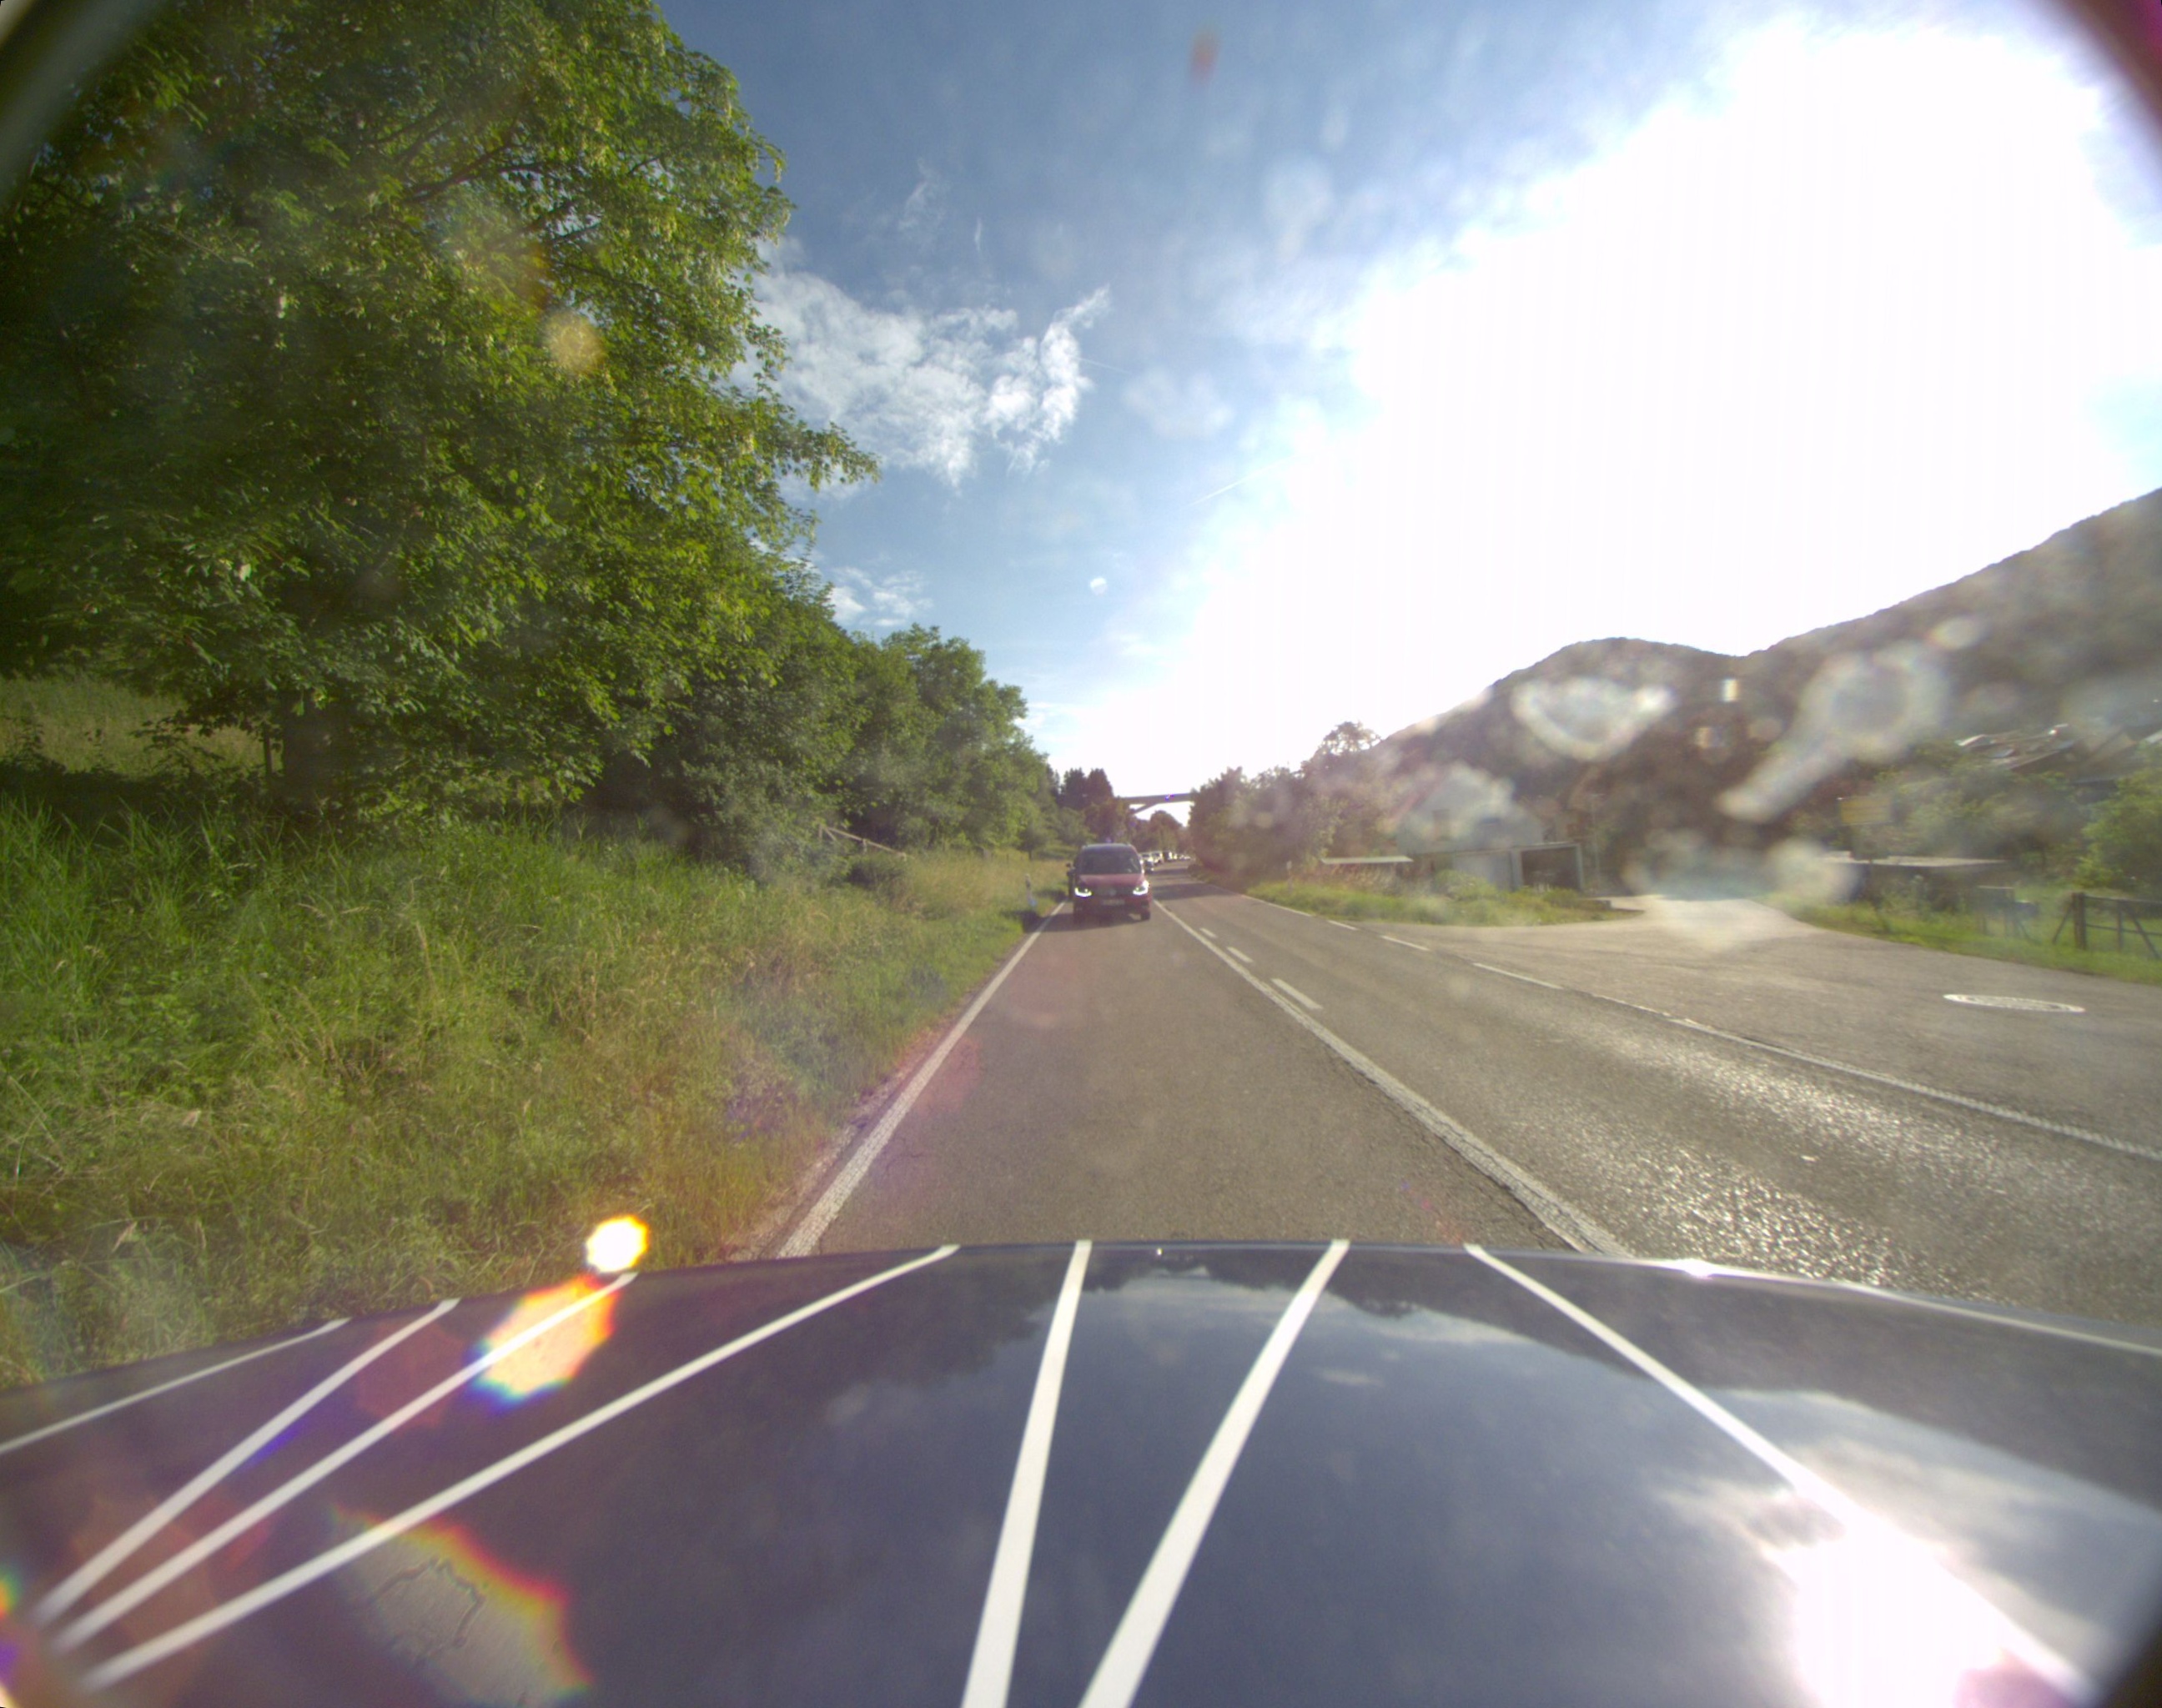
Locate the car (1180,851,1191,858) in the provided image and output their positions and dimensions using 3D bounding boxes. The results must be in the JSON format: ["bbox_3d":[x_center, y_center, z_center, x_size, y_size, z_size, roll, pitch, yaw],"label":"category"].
[{"bbox_3d":[23.097,0.101,167.552,1.840,1.543,4.182,-1,0,14],"label":"car"}]

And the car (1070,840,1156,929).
[{"bbox_3d":[0.771,0.654,18.337,1.772,1.855,3.876,-2,0,3],"label":"car"}]

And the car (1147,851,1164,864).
[{"bbox_3d":[8.861,0.417,90.284,1.840,1.543,4.180,-1,0,8],"label":"car"}]

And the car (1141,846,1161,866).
[{"bbox_3d":[7.565,0.209,81.695,1.914,2.002,4.002,-1,0,7],"label":"car"}]

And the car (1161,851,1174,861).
[{"bbox_3d":[13.520,0.312,118.275,1.817,1.608,4.003,-1,0,9],"label":"car"}]

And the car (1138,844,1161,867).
[{"bbox_3d":[6.383,0.119,70.510,1.913,2.002,4.002,-1,0,8],"label":"car"}]

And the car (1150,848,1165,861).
[{"bbox_3d":[10.499,0.057,104.064,1.817,1.608,4.003,-1,0,10],"label":"car"}]

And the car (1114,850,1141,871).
[{"bbox_3d":[3.765,0.503,61.180,1.840,1.543,4.180,-1,0,8],"label":"car"}]
